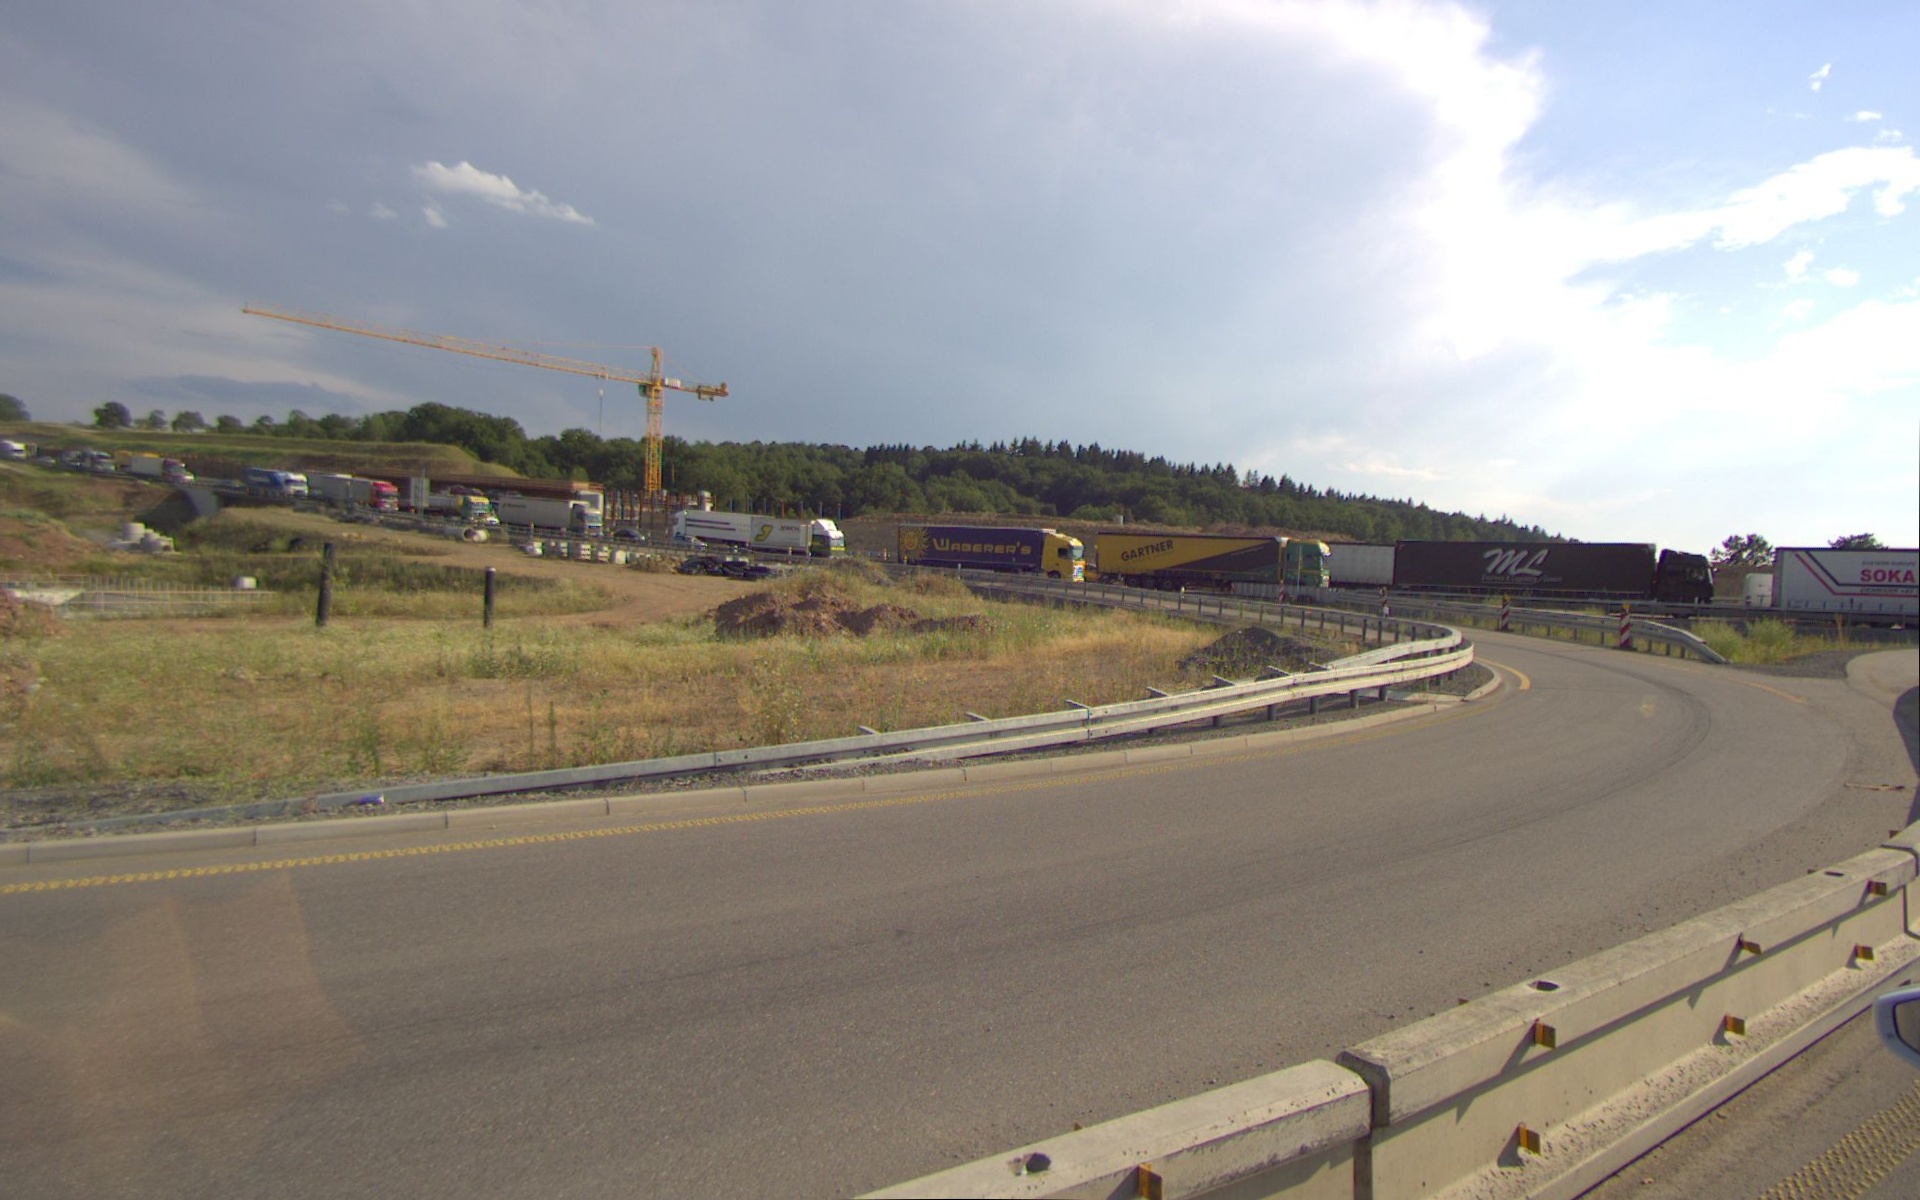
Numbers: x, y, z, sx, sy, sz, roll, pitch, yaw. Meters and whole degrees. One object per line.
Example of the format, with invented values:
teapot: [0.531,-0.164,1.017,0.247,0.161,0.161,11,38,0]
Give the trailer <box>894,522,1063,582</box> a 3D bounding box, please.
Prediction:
trailer: [1.286,-3.958,81.282,14.009,4.372,3.105,4,2,34]

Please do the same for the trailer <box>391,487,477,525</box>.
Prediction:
trailer: [-66.588,-11.839,126.953,14.009,4.372,3.105,4,2,34]

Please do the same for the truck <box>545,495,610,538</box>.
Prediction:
truck: [-41.721,-9.068,109.567,6.779,4.372,3.105,4,2,34]

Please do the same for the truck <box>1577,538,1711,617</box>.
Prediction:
truck: [38.559,-1.316,56.896,5.905,4.115,2.483,4,3,31]

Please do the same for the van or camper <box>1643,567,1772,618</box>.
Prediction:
van or camper: [43.363,-0.491,58.522,5.805,2.655,1.993,4,3,35]

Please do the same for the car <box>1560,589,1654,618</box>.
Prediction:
car: [40.979,0.163,63.694,4.894,1.521,2.029,3,4,34]

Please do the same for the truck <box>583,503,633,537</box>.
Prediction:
truck: [-48.867,-11.131,139.379,6.784,4.372,3.103,4,2,36]

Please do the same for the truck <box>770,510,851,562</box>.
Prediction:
truck: [-13.580,-5.806,91.095,6.779,4.372,3.105,4,2,34]

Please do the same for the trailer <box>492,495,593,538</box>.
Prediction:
trailer: [-47.154,-9.438,113.195,14.009,4.372,3.105,4,2,34]

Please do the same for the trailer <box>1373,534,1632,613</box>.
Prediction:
trailer: [32.403,-1.726,60.751,13.394,4.117,2.482,4,3,32]

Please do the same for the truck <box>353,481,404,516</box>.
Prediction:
truck: [-78.044,-13.545,134.726,6.779,4.372,3.105,4,2,34]

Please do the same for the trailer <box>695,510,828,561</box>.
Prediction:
trailer: [-18.857,-6.163,94.590,14.009,4.372,3.105,4,2,34]

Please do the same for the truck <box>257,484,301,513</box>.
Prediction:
truck: [-101.546,-15.071,149.764,8.410,4.054,2.515,4,2,35]

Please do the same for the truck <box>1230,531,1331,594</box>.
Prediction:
truck: [21.598,-2.562,67.825,5.908,3.954,2.481,4,3,33]

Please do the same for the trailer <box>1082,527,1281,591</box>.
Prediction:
trailer: [15.546,-3.028,71.785,13.736,4.012,2.481,4,3,33]

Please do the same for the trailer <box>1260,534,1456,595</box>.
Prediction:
trailer: [29.561,-2.725,75.233,13.243,4.050,2.859,4,3,33]

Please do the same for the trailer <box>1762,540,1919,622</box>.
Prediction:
trailer: [48.976,-0.826,50.296,13.395,3.931,2.482,4,3,32]

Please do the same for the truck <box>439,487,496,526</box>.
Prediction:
truck: [-60.130,-11.408,122.539,6.779,4.372,3.105,4,2,34]

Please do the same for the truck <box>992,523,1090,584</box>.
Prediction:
truck: [6.249,-3.599,77.973,6.779,4.372,3.105,4,2,34]

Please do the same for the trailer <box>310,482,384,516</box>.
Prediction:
trailer: [-85.370,-14.023,139.685,14.009,4.372,3.105,4,2,34]

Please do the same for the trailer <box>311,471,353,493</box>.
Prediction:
trailer: [-112.046,-21.052,179.231,10.985,3.561,1.966,4,2,34]

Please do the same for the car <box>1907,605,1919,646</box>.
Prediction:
car: [52.607,1.443,51.934,4.894,2.008,2.029,3,4,34]

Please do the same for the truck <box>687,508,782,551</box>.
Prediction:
truck: [-25.726,-7.961,114.000,12.985,4.471,3.554,4,2,43]
